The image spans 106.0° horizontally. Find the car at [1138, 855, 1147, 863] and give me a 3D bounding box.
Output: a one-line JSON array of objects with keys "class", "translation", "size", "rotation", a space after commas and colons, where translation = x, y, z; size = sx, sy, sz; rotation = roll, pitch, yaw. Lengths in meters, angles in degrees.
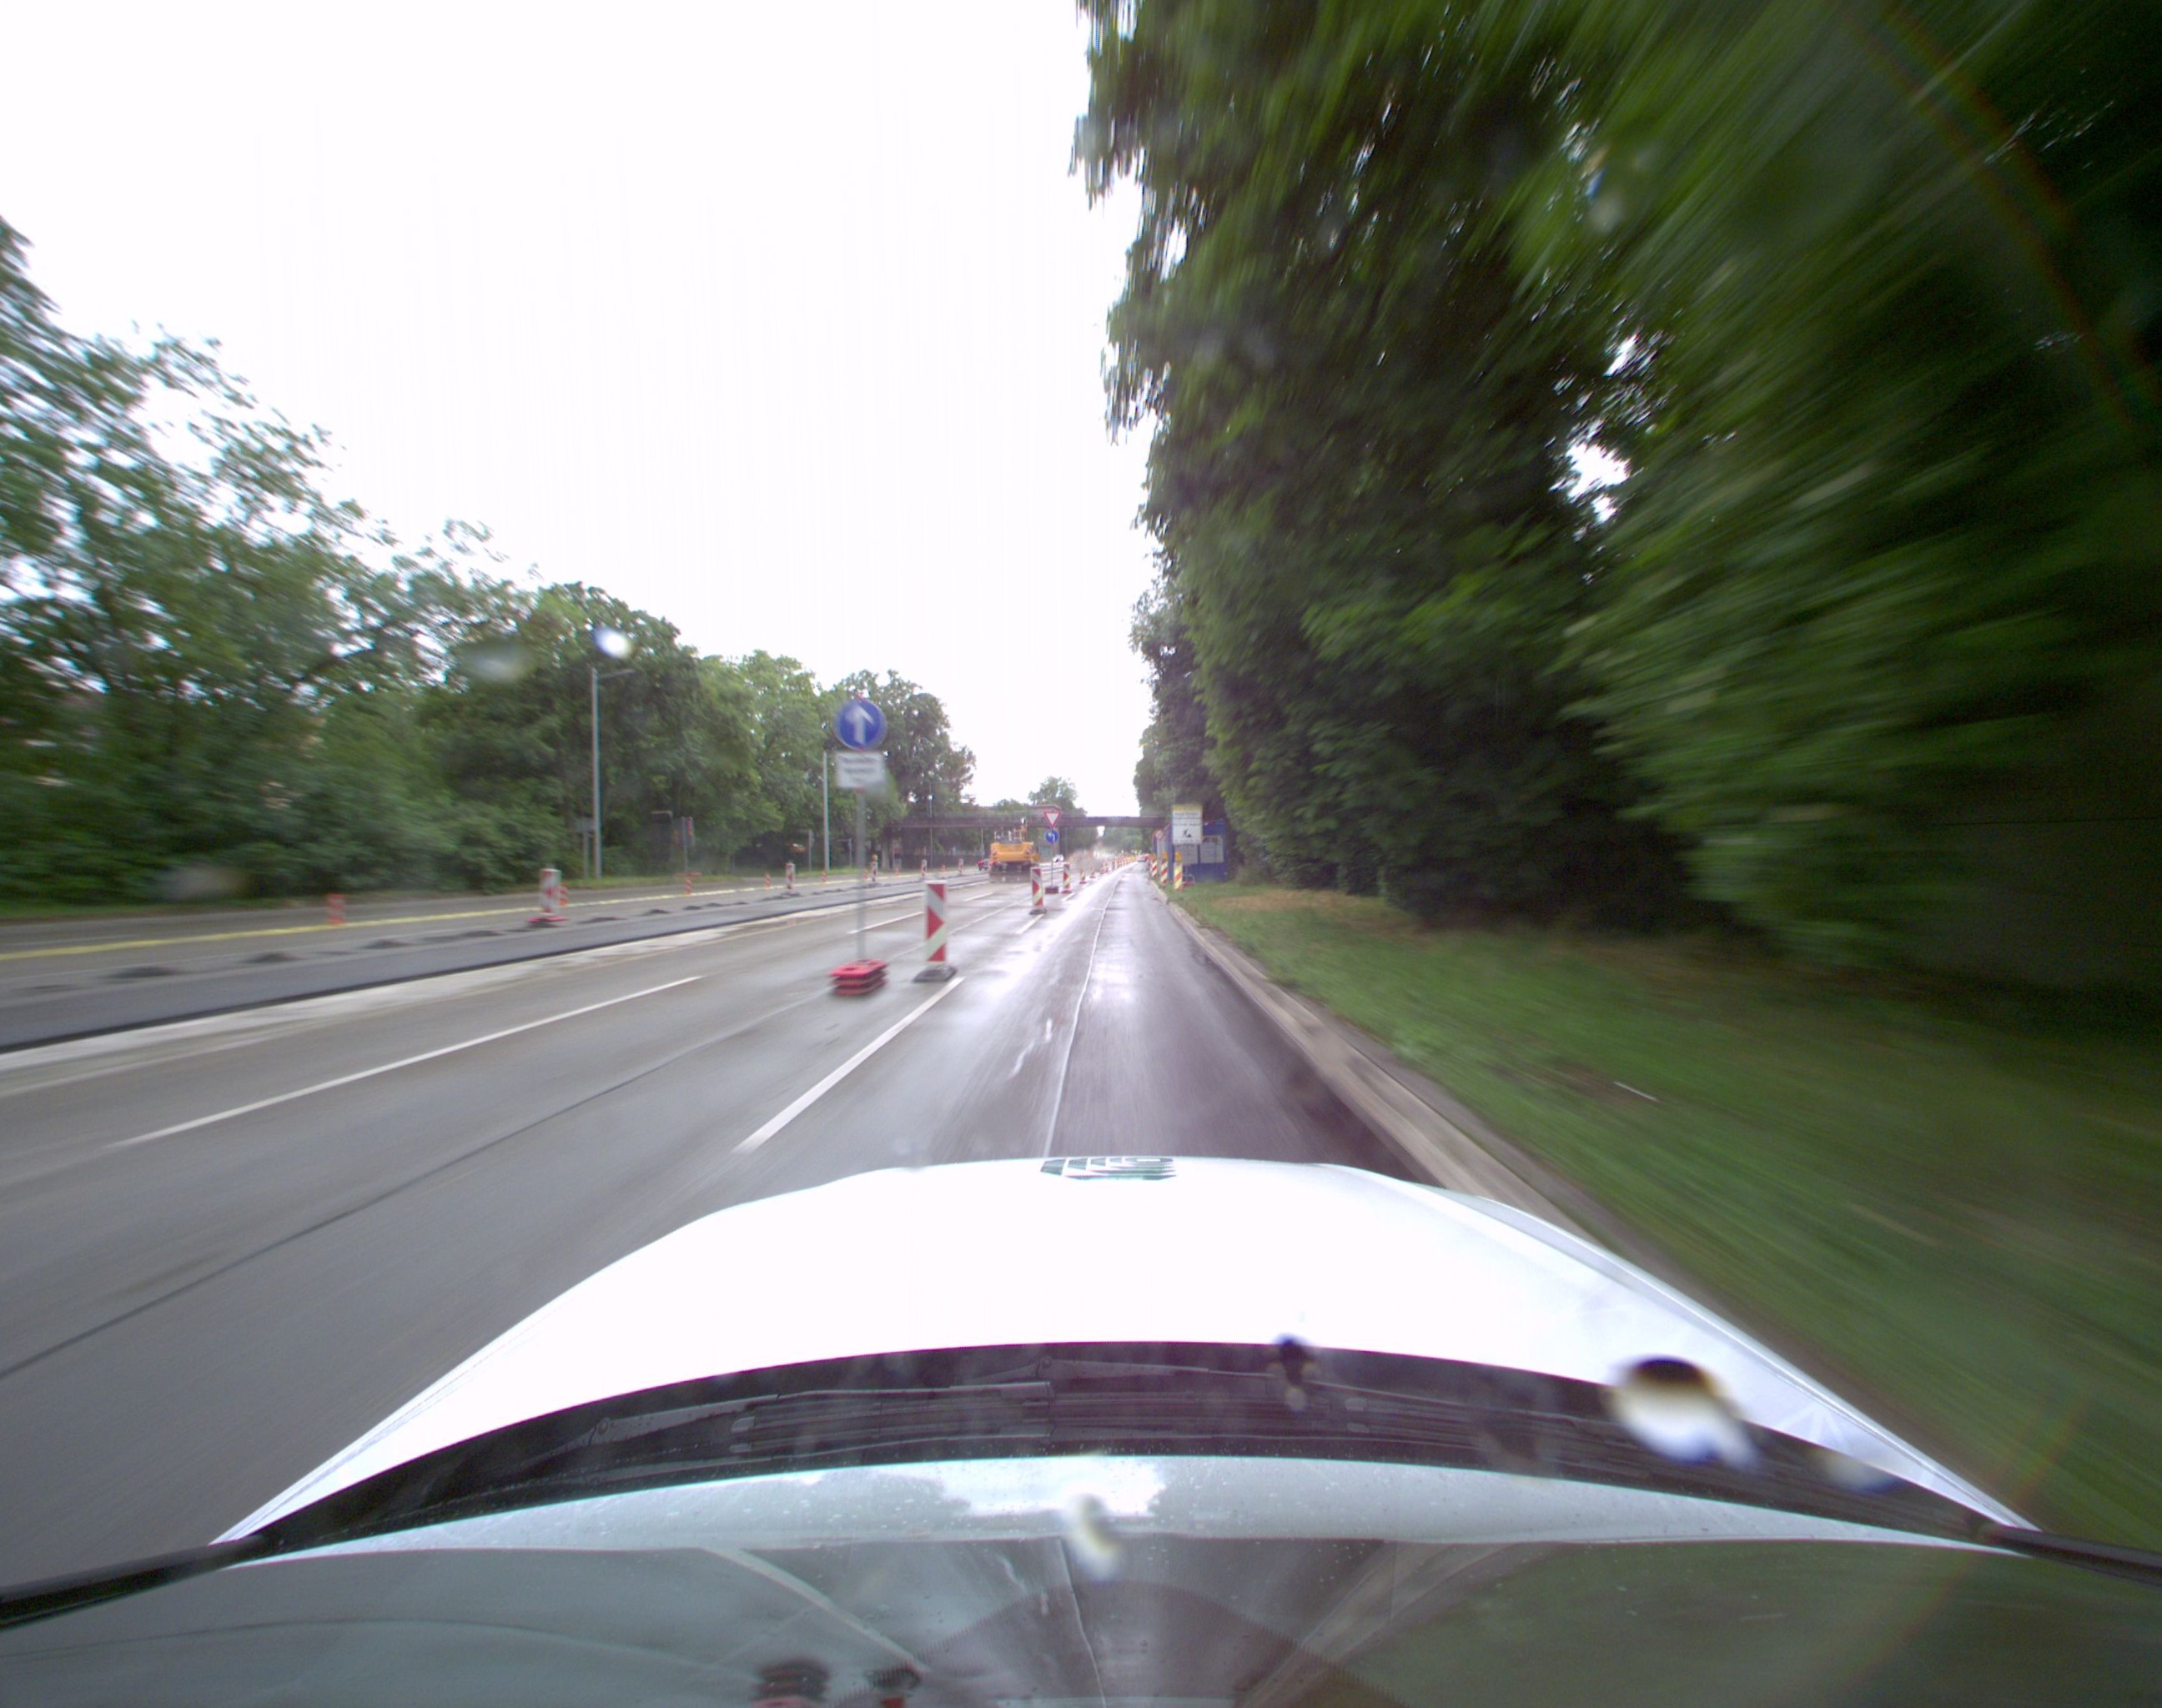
[{"class": "car", "translation": [13.847, 1.166, 183.641], "size": [1.984, 1.640, 4.005], "rotation": [-2, -1, 4]}]

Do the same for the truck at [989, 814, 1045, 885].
[{"class": "truck", "translation": [-4.101, -0.236, 54.359], "size": [2.888, 4.259, 10.752], "rotation": [0, 0, 0]}]

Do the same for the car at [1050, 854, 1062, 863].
[{"class": "car", "translation": [-5.129, 0.935, 168.360], "size": [1.961, 1.806, 4.614], "rotation": [-2, -1, 6]}]
